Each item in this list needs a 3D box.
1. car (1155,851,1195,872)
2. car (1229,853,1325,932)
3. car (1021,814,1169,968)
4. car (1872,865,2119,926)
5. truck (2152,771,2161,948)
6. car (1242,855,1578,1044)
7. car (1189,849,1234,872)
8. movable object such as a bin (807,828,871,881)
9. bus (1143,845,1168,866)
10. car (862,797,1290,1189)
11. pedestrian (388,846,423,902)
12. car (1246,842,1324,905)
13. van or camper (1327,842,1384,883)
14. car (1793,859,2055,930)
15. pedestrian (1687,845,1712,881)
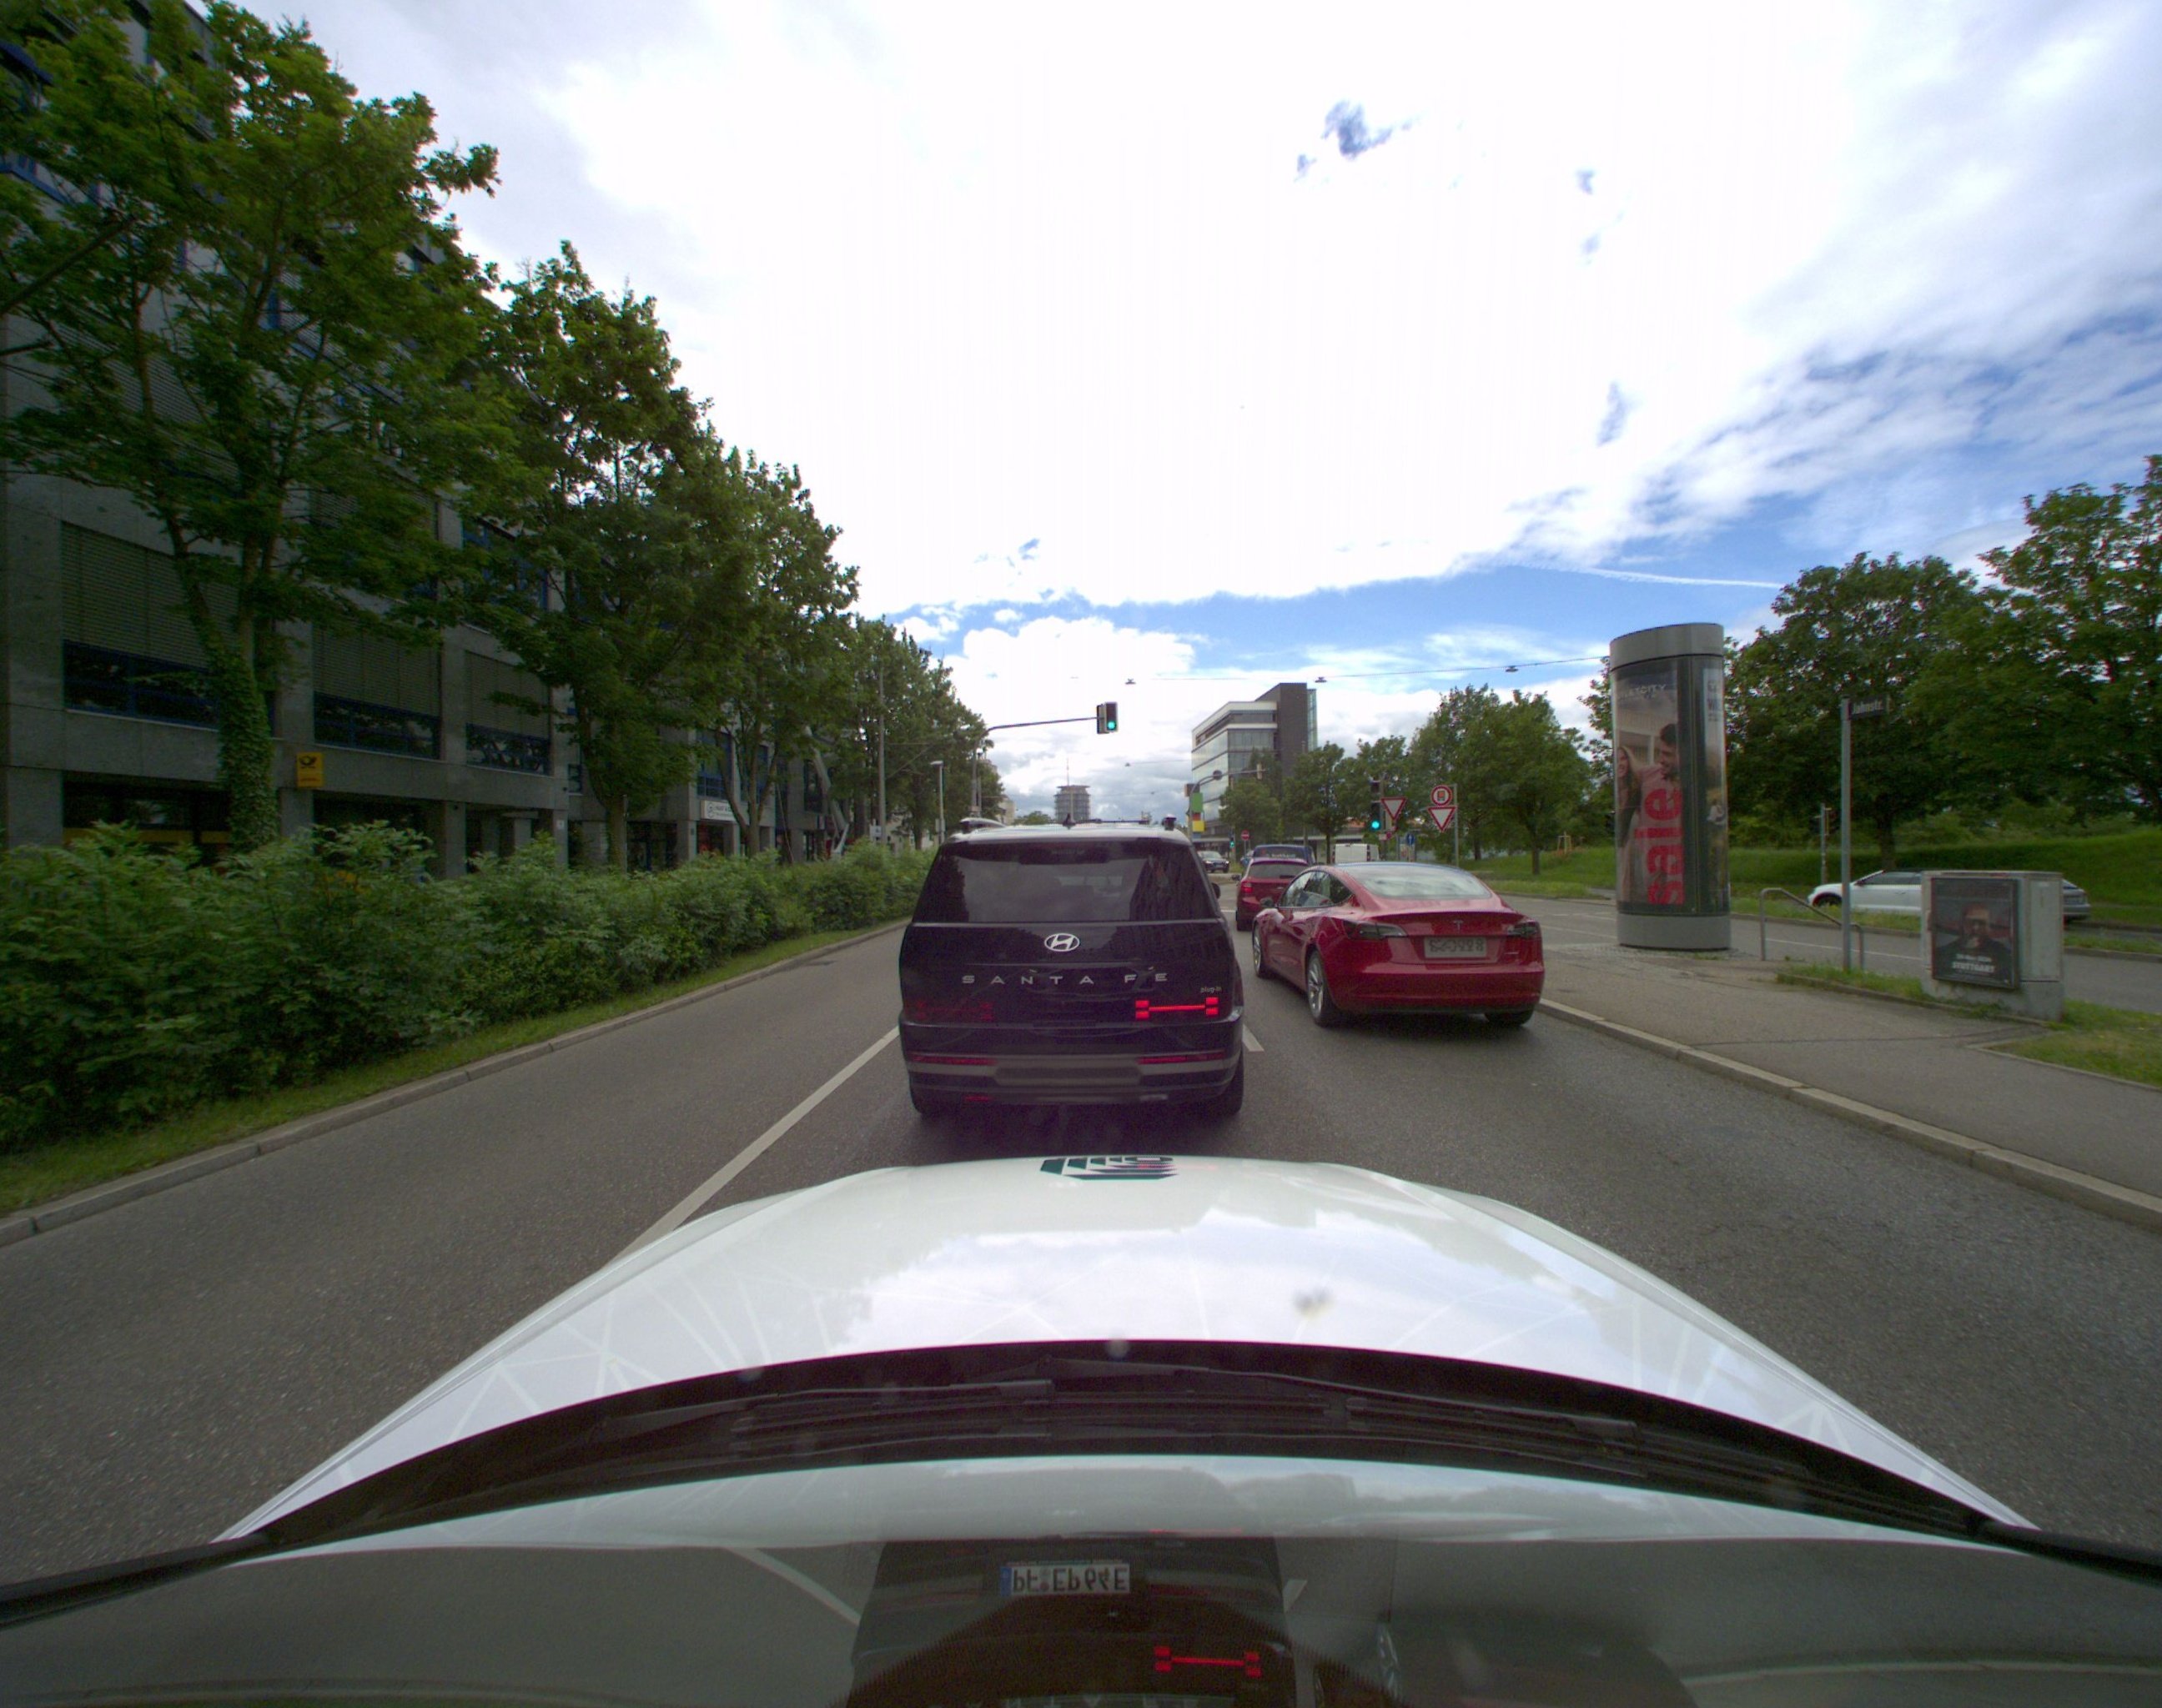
[{"bbox_3d":[6.700,0.536,58.626,1.782,1.425,4.382,0,1,-9],"label":"car"},{"bbox_3d":[4.087,0.730,17.468,1.734,1.481,3.728,0,0,9],"label":"car"},{"bbox_3d":[0.421,0.461,12.805,1.892,1.969,4.644,0,0,6],"label":"car"},{"bbox_3d":[25.011,1.077,22.517,1.984,1.442,4.143,0,0,-11],"label":"car"},{"bbox_3d":[26.219,0.152,13.862,2.821,3.925,9.420,0,0,-12],"label":"truck"},{"bbox_3d":[2.960,0.730,8.474,1.865,1.418,4.445,0,0,2],"label":"car"},{"bbox_3d":[9.528,0.437,59.899,1.889,1.564,4.380,0,1,-11],"label":"car"},{"bbox_3d":[-12.145,-0.006,41.141,1.898,2.531,4.128,0,0,1],"label":"movable object such as a bin"},{"bbox_3d":[12.110,0.327,133.149,2.958,3.116,9.238,-2,-1,-1],"label":"bus"},{"bbox_3d":[0.047,0.612,5.856,1.895,1.731,4.448,0,0,2],"label":"car"},{"bbox_3d":[-16.357,0.476,19.730,0.364,1.334,0.558,2,0,-3],"label":"pedestrian"},{"bbox_3d":[6.755,0.586,26.644,1.886,1.859,4.734,0,0,21],"label":"car"},{"bbox_3d":[13.988,0.371,41.371,1.975,1.917,4.436,0,1,29],"label":"van or camper"},{"bbox_3d":[21.645,0.960,21.222,1.850,1.529,4.472,0,1,-11],"label":"car"},{"bbox_3d":[28.896,0.422,38.072,0.538,1.604,0.703,-5,1,4],"label":"pedestrian"}]
